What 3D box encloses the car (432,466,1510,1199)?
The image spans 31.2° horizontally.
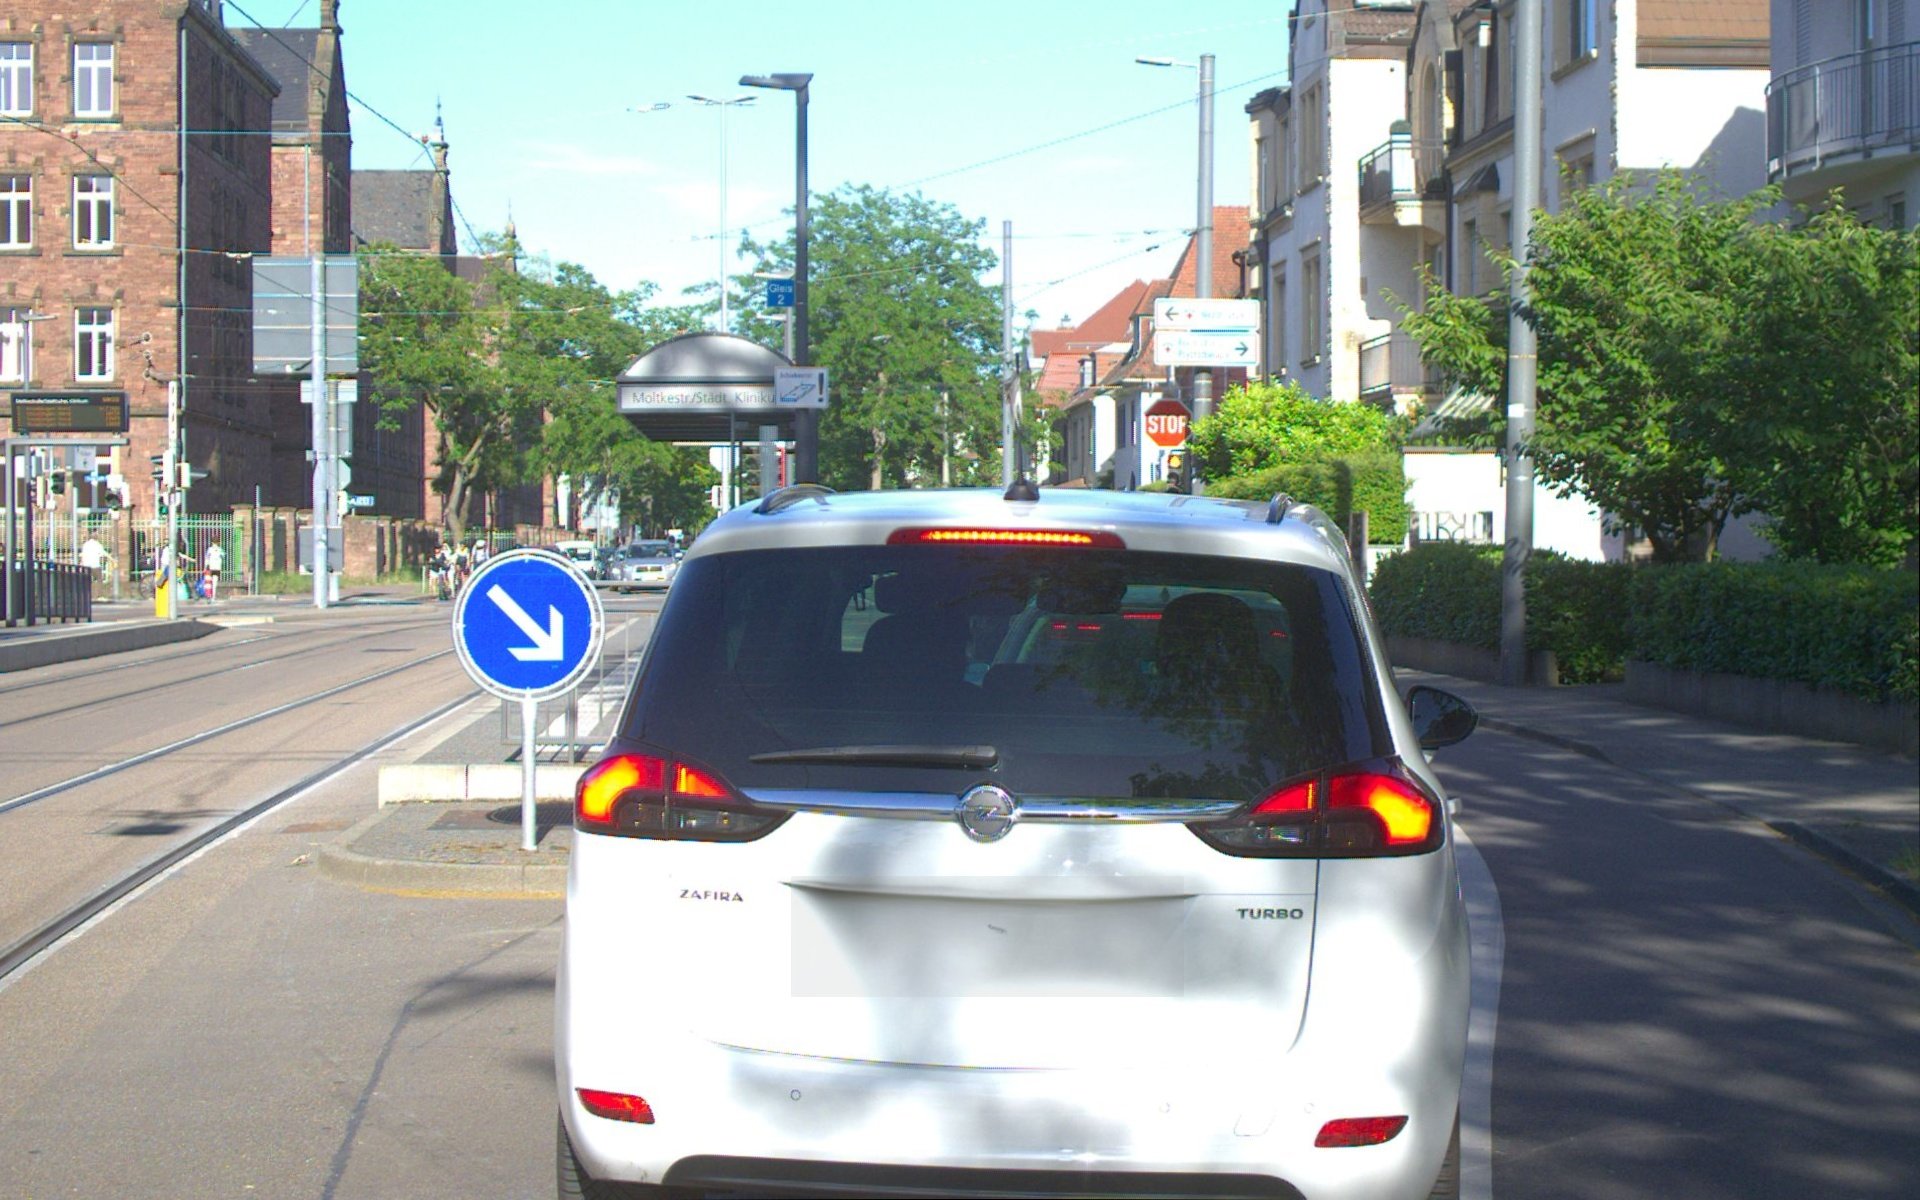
[{"bbox_3d":[0.233,0.557,8.043,1.907,1.656,3.999,0,1,7],"label":"car"}]

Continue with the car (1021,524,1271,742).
[{"bbox_3d":[1.563,0.214,28.266,1.907,1.656,4.000,0,1,4],"label":"car"}]

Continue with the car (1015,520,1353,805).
[{"bbox_3d":[1.499,0.317,21.606,1.907,1.619,3.999,0,1,7],"label":"car"}]

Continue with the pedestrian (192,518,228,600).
[{"bbox_3d":[-18.537,-1.009,84.965,0.794,2.007,0.721,1,0,-17],"label":"pedestrian"}]

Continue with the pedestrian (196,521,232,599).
[{"bbox_3d":[-19.405,-1.038,89.389,0.794,2.007,0.721,1,0,-21],"label":"pedestrian"}]

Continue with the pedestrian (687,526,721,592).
[{"bbox_3d":[-7.392,-1.181,99.203,0.741,1.894,0.811,1,0,-22],"label":"pedestrian"}]

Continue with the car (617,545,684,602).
[{"bbox_3d":[-9.651,-0.832,107.352,1.746,1.710,4.000,1,1,-1],"label":"car"}]

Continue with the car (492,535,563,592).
[{"bbox_3d":[-13.438,-1.132,107.035,1.746,1.710,4.000,1,1,-1],"label":"car"}]

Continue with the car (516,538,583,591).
[{"bbox_3d":[-13.564,-1.168,113.703,1.746,1.710,4.000,1,1,-1],"label":"car"}]

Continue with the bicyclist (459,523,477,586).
[{"bbox_3d":[-15.618,-1.449,109.228,0.498,2.007,0.572,0,1,-1],"label":"bicyclist"}]

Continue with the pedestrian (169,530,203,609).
[{"bbox_3d":[-19.903,-0.773,88.363,0.794,2.007,1.047,1,0,-15],"label":"pedestrian"}]

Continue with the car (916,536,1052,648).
[{"bbox_3d":[0.332,-0.156,53.081,1.907,1.656,4.001,0,1,-2],"label":"car"}]

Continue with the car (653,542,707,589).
[{"bbox_3d":[-10.501,-1.311,129.060,1.746,1.710,4.000,1,1,-1],"label":"car"}]

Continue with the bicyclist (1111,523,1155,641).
[{"bbox_3d":[2.492,-0.268,49.386,0.616,1.681,0.779,0,1,4],"label":"bicyclist"}]

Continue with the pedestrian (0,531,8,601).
[{"bbox_3d":[-24.435,-0.860,86.752,0.766,1.768,0.721,1,0,-17],"label":"pedestrian"}]

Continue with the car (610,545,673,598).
[{"bbox_3d":[-10.663,-0.962,115.209,1.746,1.710,4.000,1,1,-1],"label":"car"}]

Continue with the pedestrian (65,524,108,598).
[{"bbox_3d":[-22.625,-1.002,89.037,0.808,1.894,0.743,1,0,14],"label":"pedestrian"}]

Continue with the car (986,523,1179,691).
[{"bbox_3d":[1.238,0.032,36.103,1.907,1.656,4.000,0,1,1],"label":"car"}]

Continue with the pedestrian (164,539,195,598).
[{"bbox_3d":[-21.623,-0.872,95.287,0.654,1.606,0.711,1,0,2],"label":"pedestrian"}]

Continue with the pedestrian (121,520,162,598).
[{"bbox_3d":[-21.061,-1.052,88.434,0.795,2.007,0.720,1,0,-34],"label":"pedestrian"}]

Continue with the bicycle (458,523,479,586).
[{"bbox_3d":[-15.619,-1.449,109.232,0.487,2.007,1.405,0,1,0],"label":"bicycle"}]

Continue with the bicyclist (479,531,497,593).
[{"bbox_3d":[-15.321,-1.222,111.598,0.488,2.007,0.502,1,0,-1],"label":"bicyclist"}]

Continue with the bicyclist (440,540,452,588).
[{"bbox_3d":[-15.441,-1.079,103.204,0.313,1.439,0.384,0,1,-1],"label":"bicyclist"}]

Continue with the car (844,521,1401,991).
[{"bbox_3d":[0.779,0.491,13.766,1.907,1.592,3.999,0,1,7],"label":"car"}]
